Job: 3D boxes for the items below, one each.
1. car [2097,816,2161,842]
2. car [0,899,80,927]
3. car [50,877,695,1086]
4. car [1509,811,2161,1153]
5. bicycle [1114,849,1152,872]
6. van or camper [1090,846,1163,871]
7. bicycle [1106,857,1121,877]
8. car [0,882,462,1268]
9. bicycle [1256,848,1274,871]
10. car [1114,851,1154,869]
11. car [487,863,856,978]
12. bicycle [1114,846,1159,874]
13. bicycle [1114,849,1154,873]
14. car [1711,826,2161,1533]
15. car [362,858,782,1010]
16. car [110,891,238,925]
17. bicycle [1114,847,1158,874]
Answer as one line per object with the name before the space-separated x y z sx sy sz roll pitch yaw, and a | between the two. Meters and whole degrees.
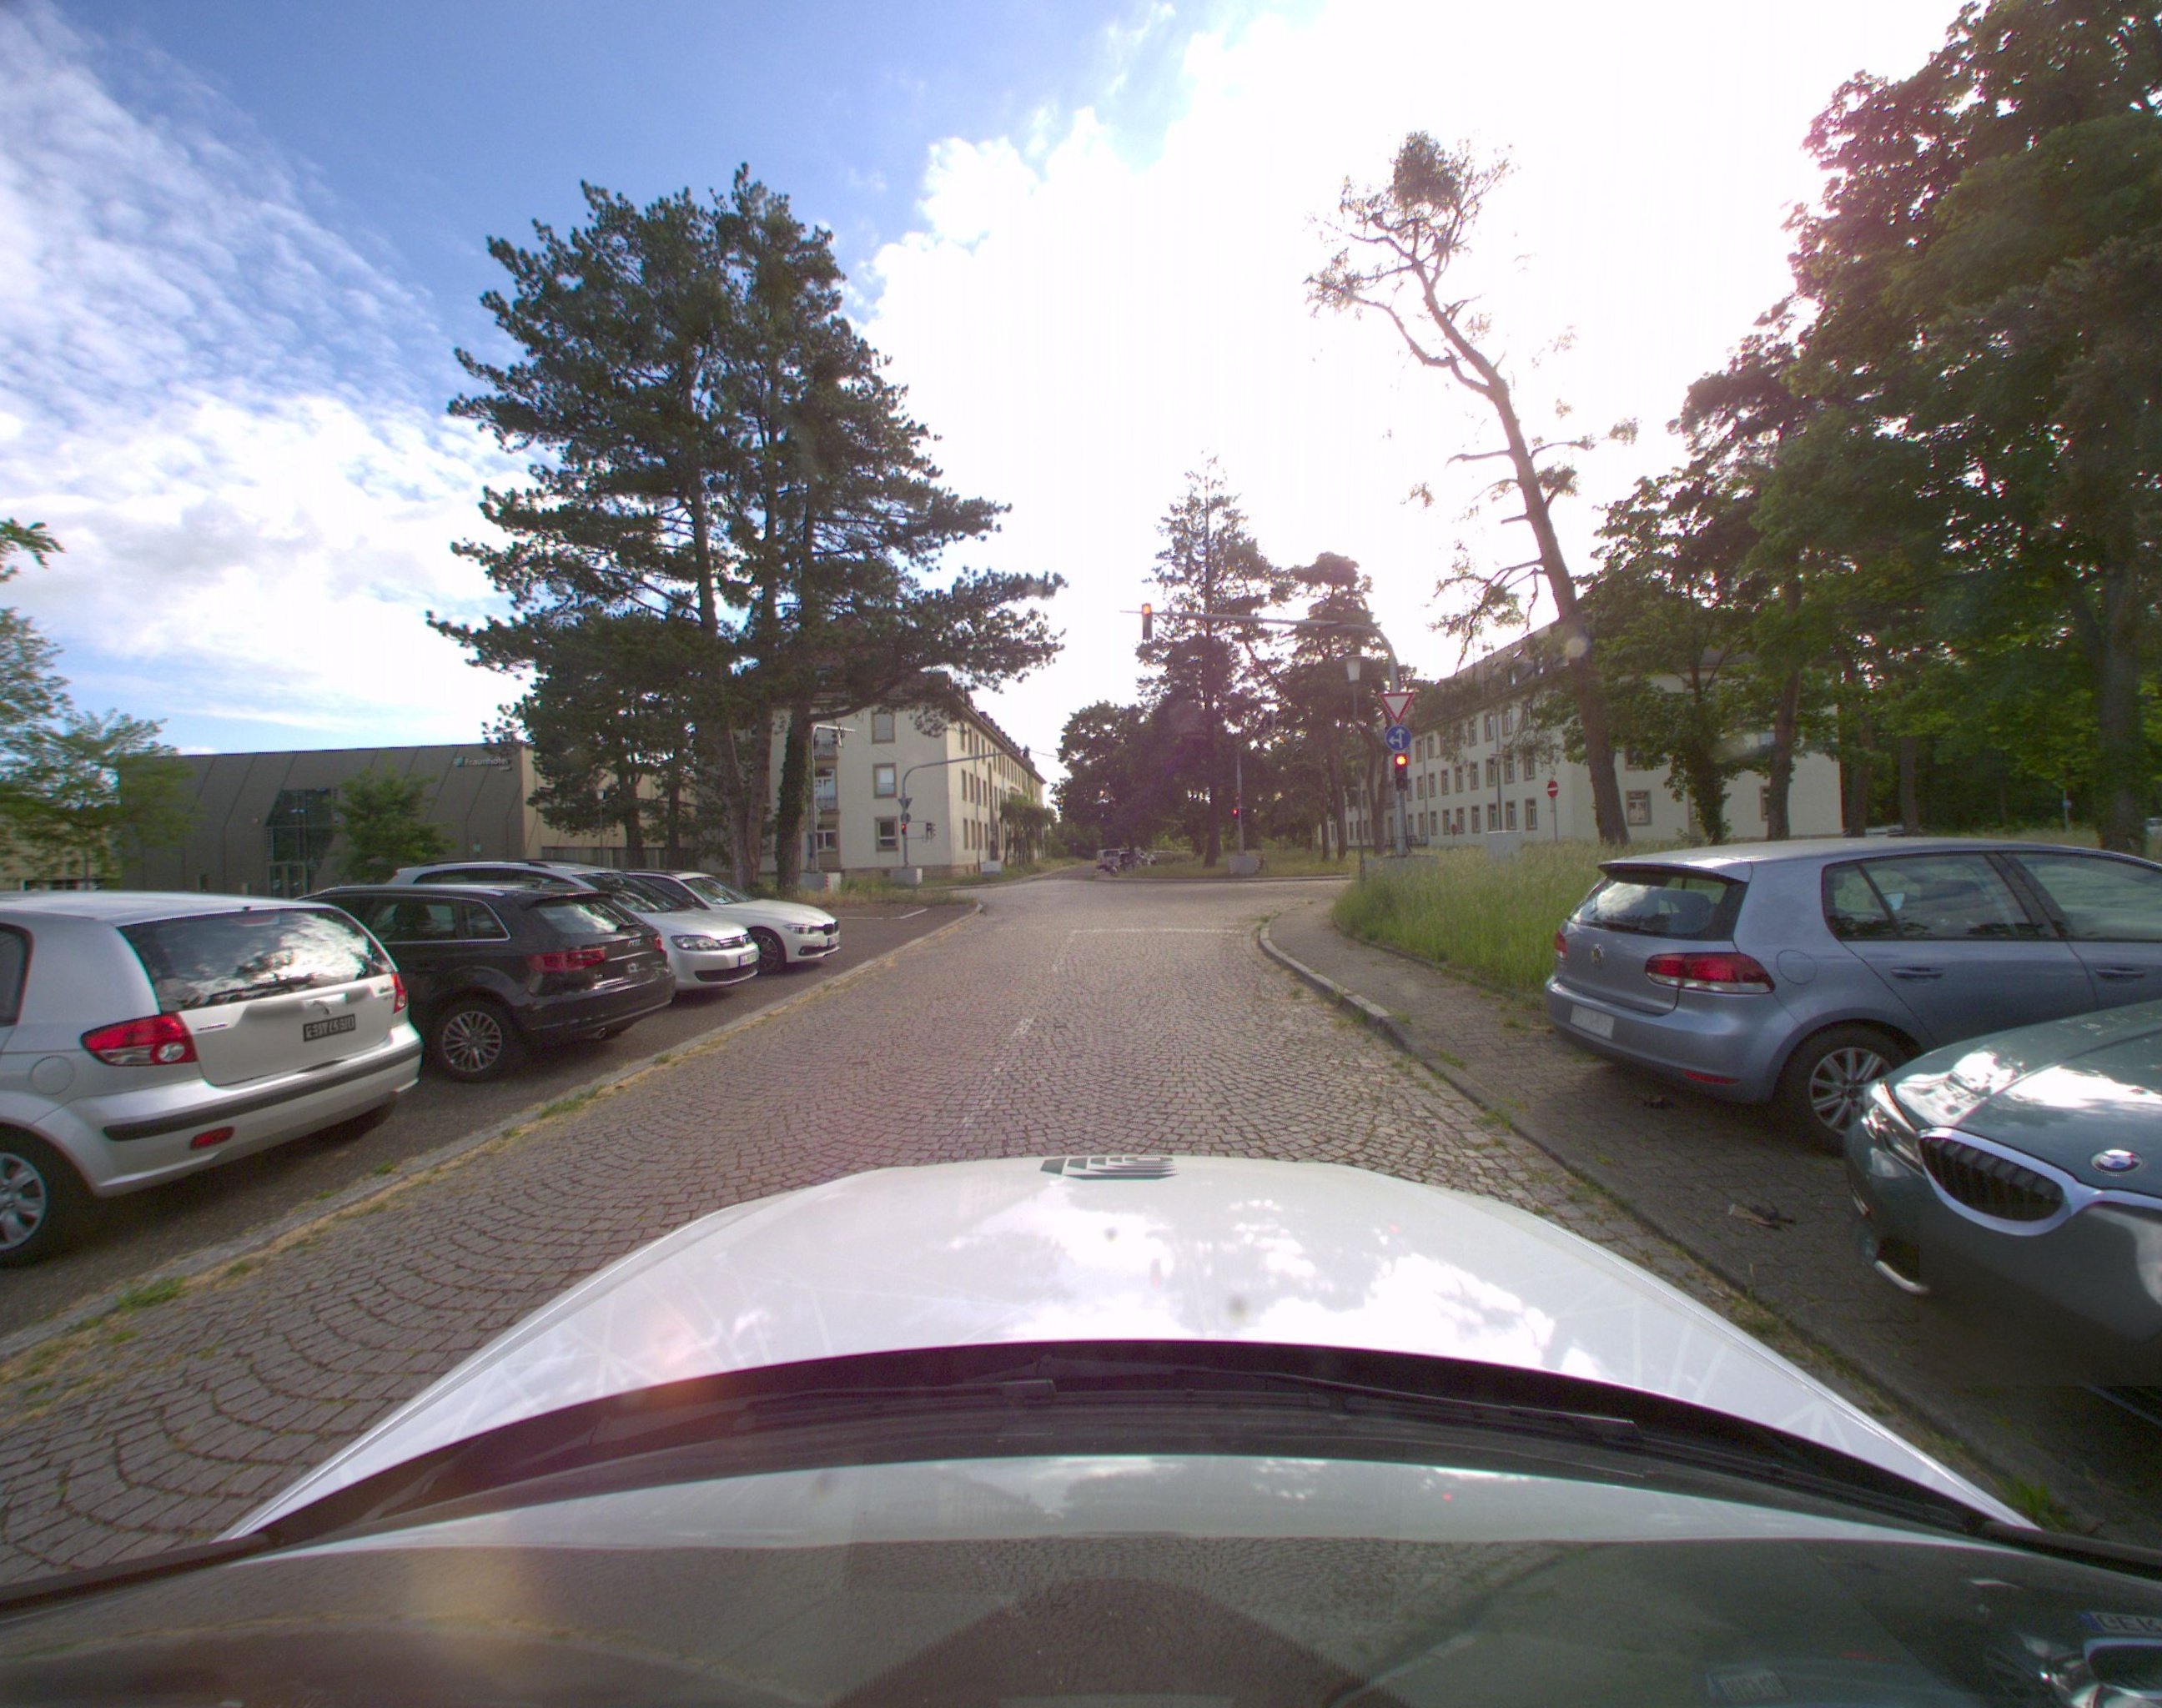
car | 59.323 -1.353 45.124 3.971 1.398 1.564 0 0 2
car | -55.783 3.120 42.532 1.598 1.272 4.204 -2 0 6
car | -5.498 0.934 6.688 3.821 1.408 1.696 0 0 1
car | 4.782 0.567 4.597 3.828 1.471 1.642 -3 0 1
bicycle | 3.797 0.491 59.861 2.763 1.694 1.121 0 0 3
van or camper | 3.985 0.392 71.743 6.035 1.948 1.992 -2 0 -11
bicycle | 1.989 0.754 49.535 0.722 1.107 2.465 -7 -1 4
car | -5.544 0.914 4.089 3.565 1.475 1.647 0 0 0
bicycle | 9.429 0.274 41.736 0.719 1.169 2.744 0 0 9
car | 4.446 0.493 68.144 3.131 1.354 1.618 -2 0 -4
car | -5.845 0.925 12.061 4.465 1.442 1.829 1 0 -1
bicycle | 3.668 0.386 53.760 2.769 1.694 1.119 -2 0 -3
bicycle | 3.817 0.504 58.521 2.761 1.694 1.122 0 0 6
car | 4.529 0.618 2.040 4.498 1.483 1.807 -2 0 0
car | -5.763 0.861 9.588 3.819 1.607 1.735 0 0 -1
car | -46.595 2.753 41.981 1.749 1.414 4.138 -2 0 6
bicycle | 3.700 0.412 54.955 2.771 1.694 1.118 -2 0 -5
